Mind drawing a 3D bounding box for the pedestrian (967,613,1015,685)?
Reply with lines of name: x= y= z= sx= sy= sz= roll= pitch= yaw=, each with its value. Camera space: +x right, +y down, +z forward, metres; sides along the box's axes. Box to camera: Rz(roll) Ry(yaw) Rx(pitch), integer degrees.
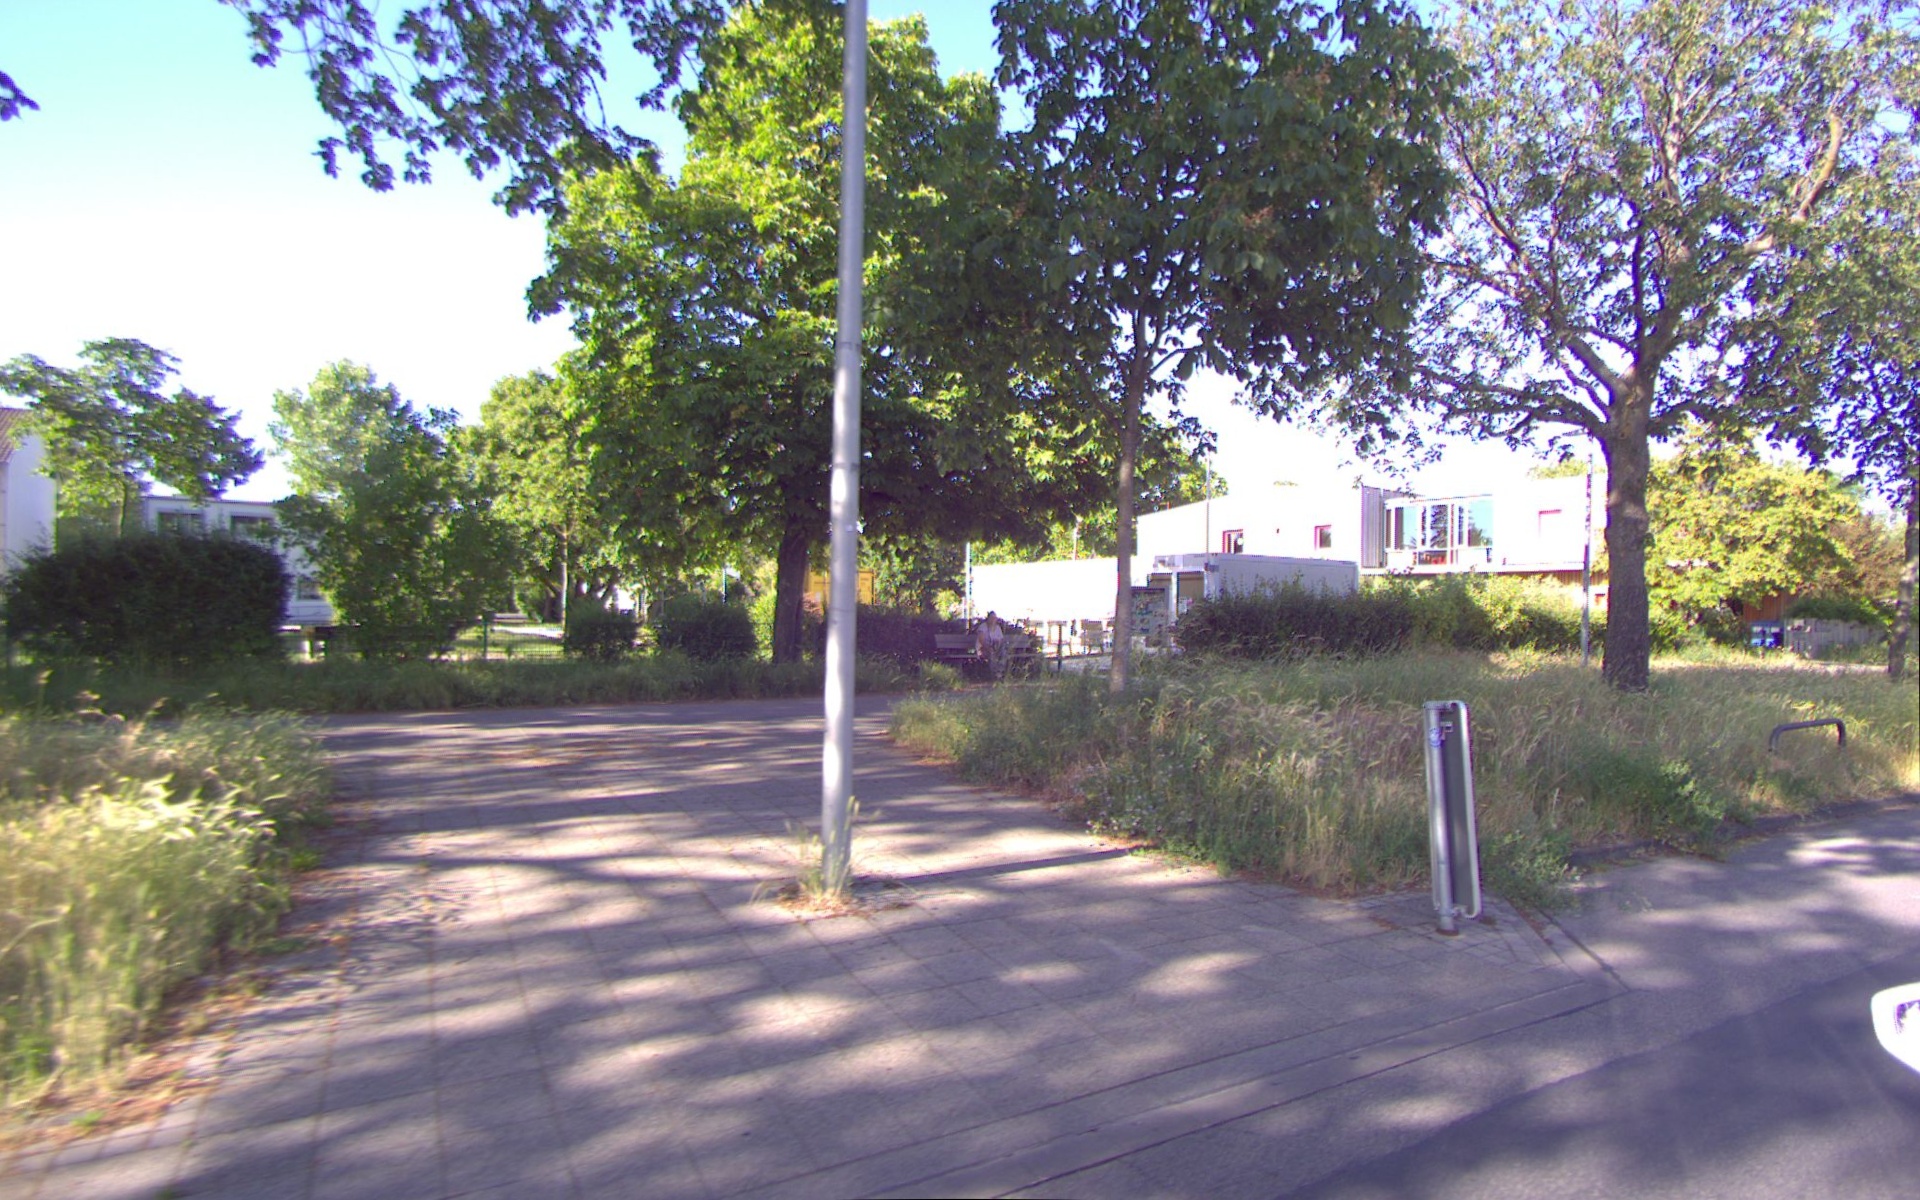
pedestrian: x=0.534 y=0.842 z=17.432 sx=0.516 sy=1.173 sz=0.634 roll=2 pitch=2 yaw=-31
